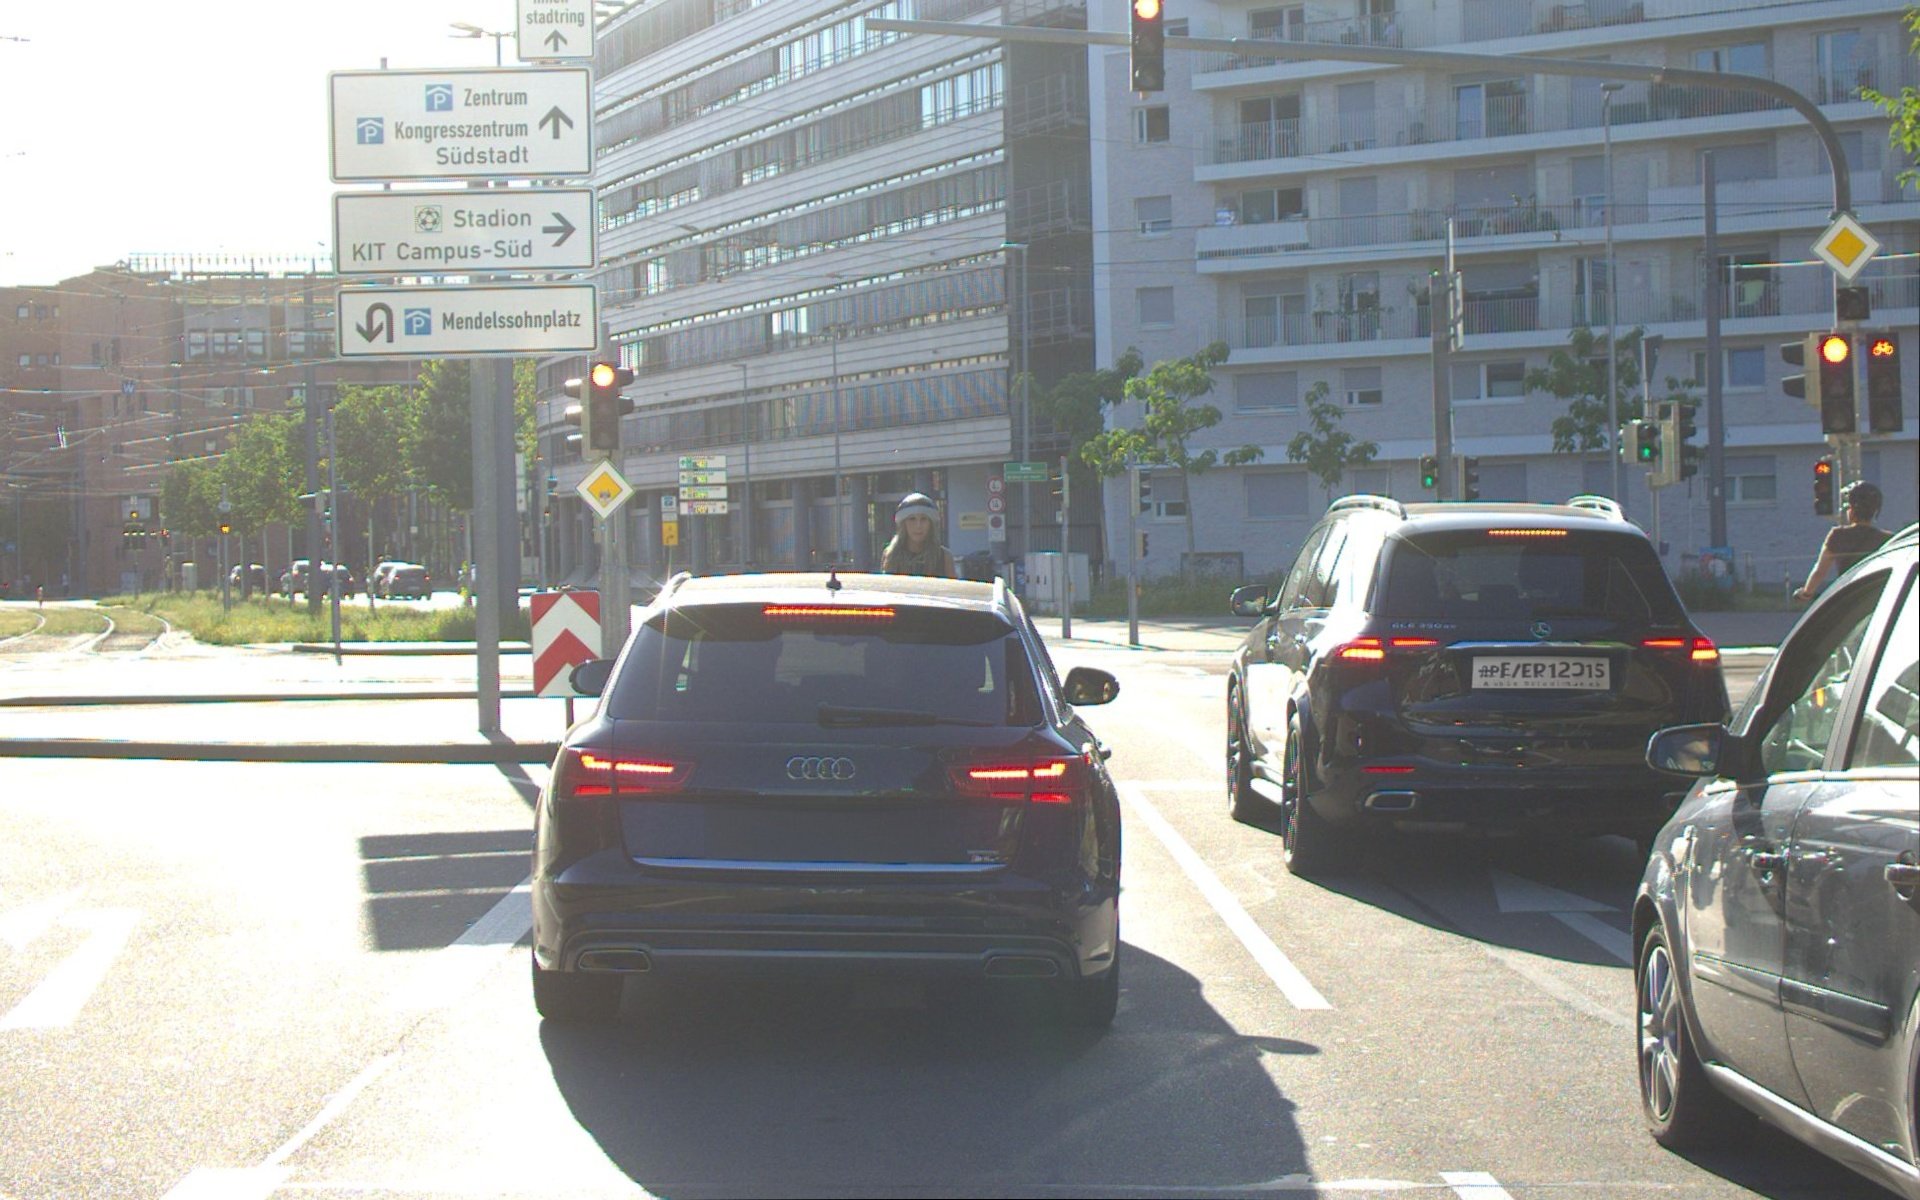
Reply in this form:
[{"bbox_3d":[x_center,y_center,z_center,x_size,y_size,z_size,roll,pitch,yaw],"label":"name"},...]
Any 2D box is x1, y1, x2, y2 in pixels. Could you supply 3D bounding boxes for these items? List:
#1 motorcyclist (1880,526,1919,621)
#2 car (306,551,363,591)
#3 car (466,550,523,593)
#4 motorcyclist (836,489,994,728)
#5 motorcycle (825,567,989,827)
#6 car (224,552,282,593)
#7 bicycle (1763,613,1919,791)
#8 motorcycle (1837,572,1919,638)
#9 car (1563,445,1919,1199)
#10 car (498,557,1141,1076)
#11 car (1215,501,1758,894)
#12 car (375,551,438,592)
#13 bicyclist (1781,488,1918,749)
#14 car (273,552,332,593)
[{"bbox_3d":[15.129,-0.421,53.998,0.924,1.476,1.172,-1,1,-7],"label":"motorcyclist"},{"bbox_3d":[-26.639,-1.221,146.417,1.993,1.590,4.001,-2,0,-16],"label":"car"},{"bbox_3d":[-21.173,-1.301,156.215,1.993,1.831,4.001,-2,0,-16],"label":"car"},{"bbox_3d":[-0.251,0.043,19.583,0.862,1.322,0.681,-1,1,0],"label":"motorcyclist"},{"bbox_3d":[-0.293,0.518,19.579,0.862,1.388,1.894,-1,1,0],"label":"motorcycle"},{"bbox_3d":[-31.254,-1.196,151.813,1.993,1.700,4.001,-2,0,-18],"label":"car"},{"bbox_3d":[5.691,0.634,22.161,0.654,1.039,1.929,-1,1,3],"label":"bicycle"},{"bbox_3d":[15.186,0.061,54.007,2.452,0.997,1.172,-1,1,-7],"label":"motorcycle"},{"bbox_3d":[2.557,0.569,7.323,1.746,1.690,4.261,1,1,0],"label":"car"},{"bbox_3d":[-0.435,0.601,11.923,1.842,1.449,4.000,1,1,-1],"label":"car"},{"bbox_3d":[2.479,0.384,17.313,2.003,1.709,4.372,1,1,-1],"label":"car"},{"bbox_3d":[-23.187,-1.174,143.919,1.993,1.590,4.001,-2,0,-17],"label":"car"},{"bbox_3d":[5.721,0.105,22.150,0.654,1.637,0.972,-1,1,3],"label":"bicyclist"},{"bbox_3d":[-29.261,-1.213,152.979,1.993,1.700,4.001,-2,0,-18],"label":"car"}]
